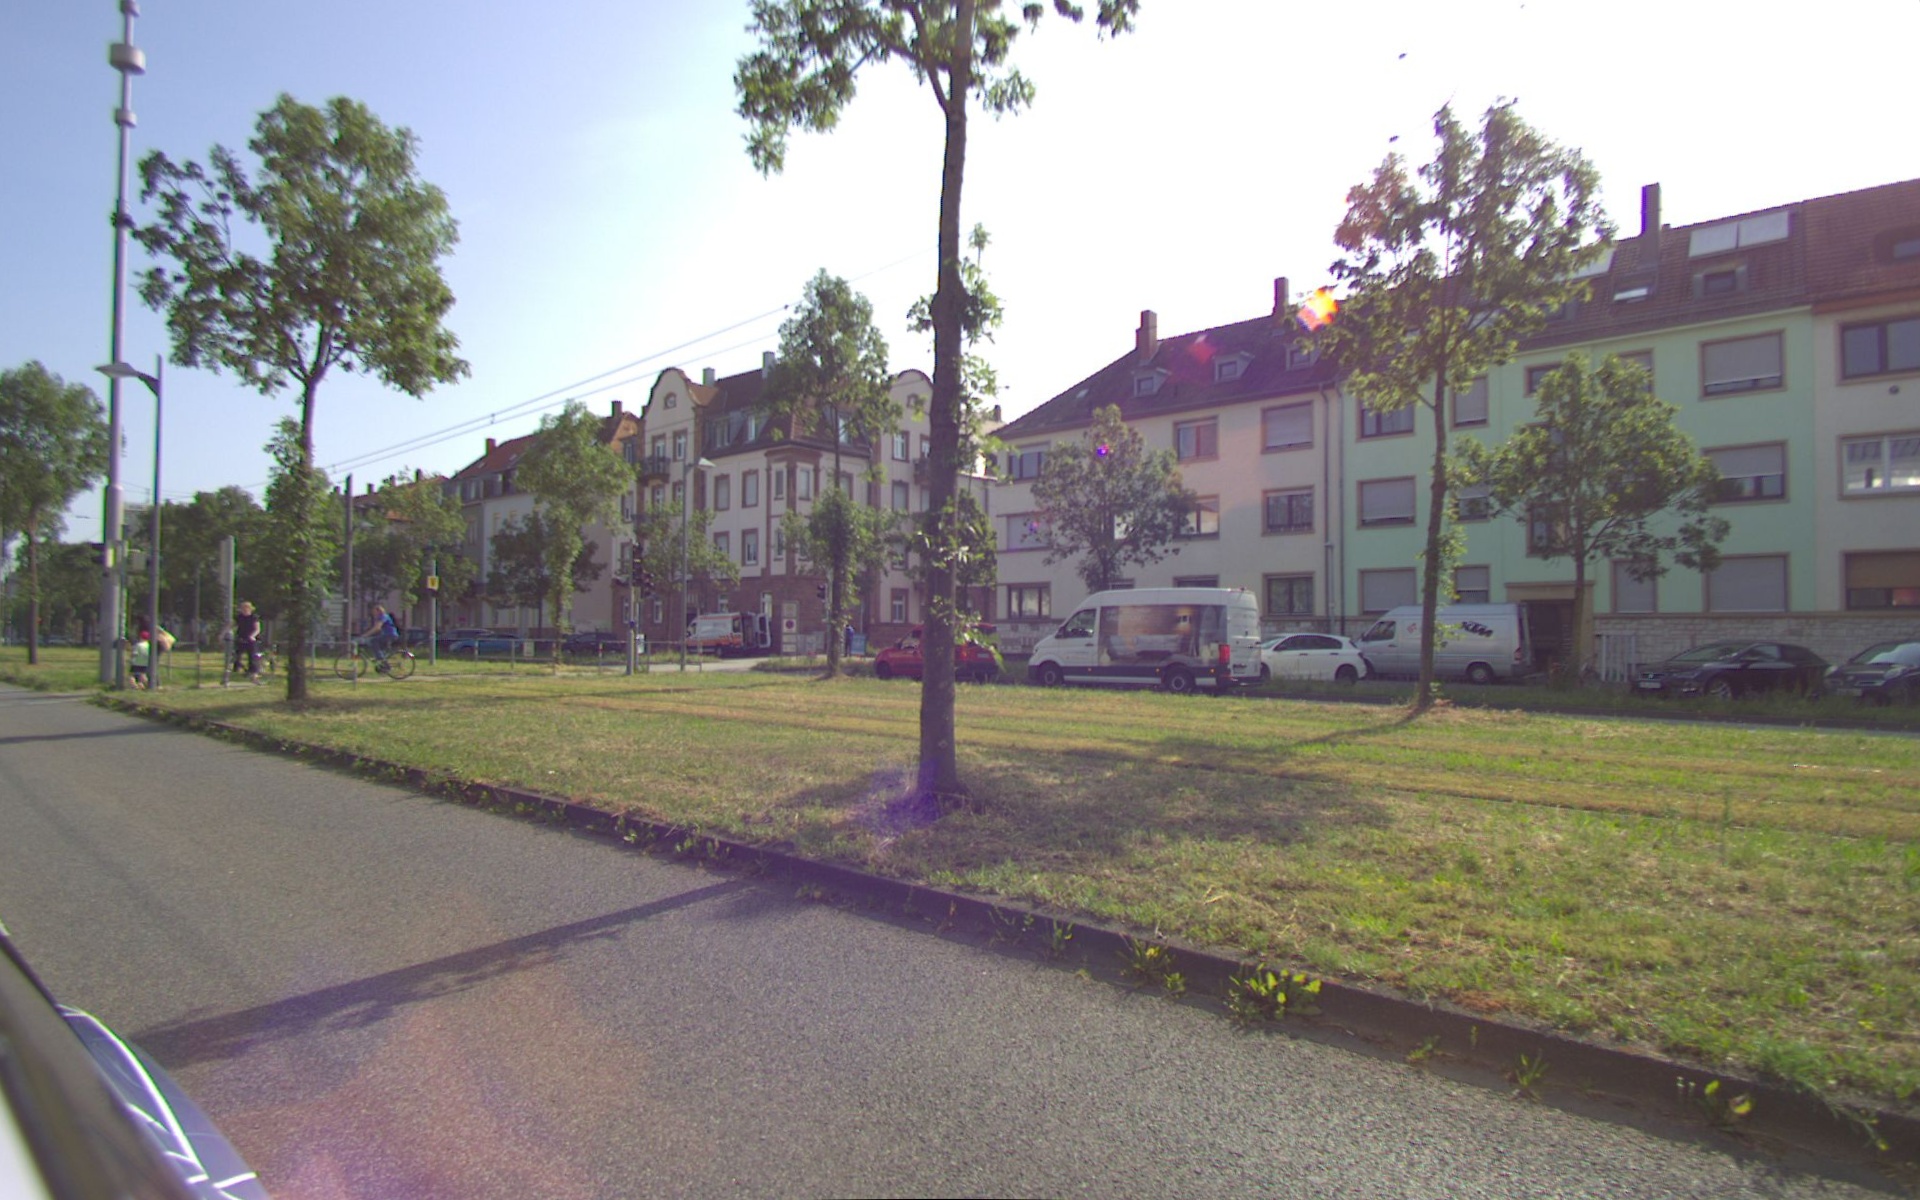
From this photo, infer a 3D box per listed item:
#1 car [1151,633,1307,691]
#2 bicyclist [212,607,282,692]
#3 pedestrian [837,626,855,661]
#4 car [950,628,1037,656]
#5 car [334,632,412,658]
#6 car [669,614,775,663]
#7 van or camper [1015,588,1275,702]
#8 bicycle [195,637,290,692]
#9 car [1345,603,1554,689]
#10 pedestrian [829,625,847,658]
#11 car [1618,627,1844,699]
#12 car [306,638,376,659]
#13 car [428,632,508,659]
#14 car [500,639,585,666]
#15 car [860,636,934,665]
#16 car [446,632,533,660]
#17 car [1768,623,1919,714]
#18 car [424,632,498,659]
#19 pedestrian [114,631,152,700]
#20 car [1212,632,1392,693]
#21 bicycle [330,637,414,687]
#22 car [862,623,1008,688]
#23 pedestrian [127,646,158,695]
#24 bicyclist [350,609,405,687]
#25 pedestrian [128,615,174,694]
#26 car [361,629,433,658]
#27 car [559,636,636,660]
[{"bbox_3d":[7.920,1.787,29.931,4.031,1.541,1.817,-1,-1,-12],"label":"car"},{"bbox_3d":[-15.869,1.088,22.537,0.899,1.836,0.867,0,-2,13],"label":"bicyclist"},{"bbox_3d":[-5.956,2.263,52.926,0.632,1.761,0.661,-2,-1,41],"label":"pedestrian"},{"bbox_3d":[1.808,2.232,53.751,4.447,1.482,1.603,-1,-3,10],"label":"car"},{"bbox_3d":[-40.546,3.098,69.995,4.423,1.617,2.006,-1,-1,-21],"label":"car"},{"bbox_3d":[-13.382,2.108,56.624,6.501,2.583,2.325,-1,-1,39],"label":"car"},{"bbox_3d":[4.400,1.093,24.877,6.055,2.493,2.119,-1,-4,41],"label":"van or camper"},{"bbox_3d":[-15.918,1.413,22.505,0.571,1.154,1.744,0,-2,14],"label":"bicycle"},{"bbox_3d":[15.300,1.381,31.855,5.576,2.482,1.972,-1,-1,42],"label":"car"},{"bbox_3d":[-6.459,2.200,53.672,0.632,1.761,0.661,-2,-1,41],"label":"pedestrian"},{"bbox_3d":[16.344,1.305,21.530,3.715,1.353,1.777,-1,-1,-12],"label":"car"},{"bbox_3d":[-49.403,3.837,80.843,4.423,1.502,2.006,-1,-1,-21],"label":"car"},{"bbox_3d":[-29.965,2.761,61.716,4.121,1.514,1.947,-1,-1,-17],"label":"car"},{"bbox_3d":[-23.434,2.921,56.984,4.269,1.336,2.006,-1,-1,-18],"label":"car"},{"bbox_3d":[-3.595,2.889,58.120,2.000,1.475,3.943,-1,-1,43],"label":"car"},{"bbox_3d":[-27.721,2.688,59.719,4.438,1.451,2.006,-1,-1,-18],"label":"car"},{"bbox_3d":[18.213,1.243,19.299,4.280,1.541,2.004,-1,-1,-10],"label":"car"},{"bbox_3d":[-31.509,2.847,64.007,3.994,1.566,1.922,-1,-1,-19],"label":"car"},{"bbox_3d":[-16.563,1.307,20.278,0.449,1.368,0.550,1,-3,-28],"label":"pedestrian"},{"bbox_3d":[9.343,1.673,27.791,4.294,1.486,1.862,-1,-1,-12],"label":"car"},{"bbox_3d":[-14.521,1.511,25.001,1.763,1.154,0.578,0,-1,-32],"label":"bicycle"},{"bbox_3d":[-0.785,1.597,29.491,4.160,1.751,1.796,-2,-4,42],"label":"car"},{"bbox_3d":[-16.754,1.435,20.748,0.405,0.989,0.422,1,-3,-29],"label":"pedestrian"},{"bbox_3d":[-14.443,1.159,25.086,1.168,1.864,0.913,0,-1,-32],"label":"bicyclist"},{"bbox_3d":[-17.012,1.140,21.297,0.601,1.616,0.737,1,-3,-28],"label":"pedestrian"},{"bbox_3d":[-37.074,2.847,66.725,3.931,1.719,1.881,-1,-1,-20],"label":"car"},{"bbox_3d":[-19.109,2.532,53.500,3.784,1.136,1.774,-1,-1,-18],"label":"car"}]
